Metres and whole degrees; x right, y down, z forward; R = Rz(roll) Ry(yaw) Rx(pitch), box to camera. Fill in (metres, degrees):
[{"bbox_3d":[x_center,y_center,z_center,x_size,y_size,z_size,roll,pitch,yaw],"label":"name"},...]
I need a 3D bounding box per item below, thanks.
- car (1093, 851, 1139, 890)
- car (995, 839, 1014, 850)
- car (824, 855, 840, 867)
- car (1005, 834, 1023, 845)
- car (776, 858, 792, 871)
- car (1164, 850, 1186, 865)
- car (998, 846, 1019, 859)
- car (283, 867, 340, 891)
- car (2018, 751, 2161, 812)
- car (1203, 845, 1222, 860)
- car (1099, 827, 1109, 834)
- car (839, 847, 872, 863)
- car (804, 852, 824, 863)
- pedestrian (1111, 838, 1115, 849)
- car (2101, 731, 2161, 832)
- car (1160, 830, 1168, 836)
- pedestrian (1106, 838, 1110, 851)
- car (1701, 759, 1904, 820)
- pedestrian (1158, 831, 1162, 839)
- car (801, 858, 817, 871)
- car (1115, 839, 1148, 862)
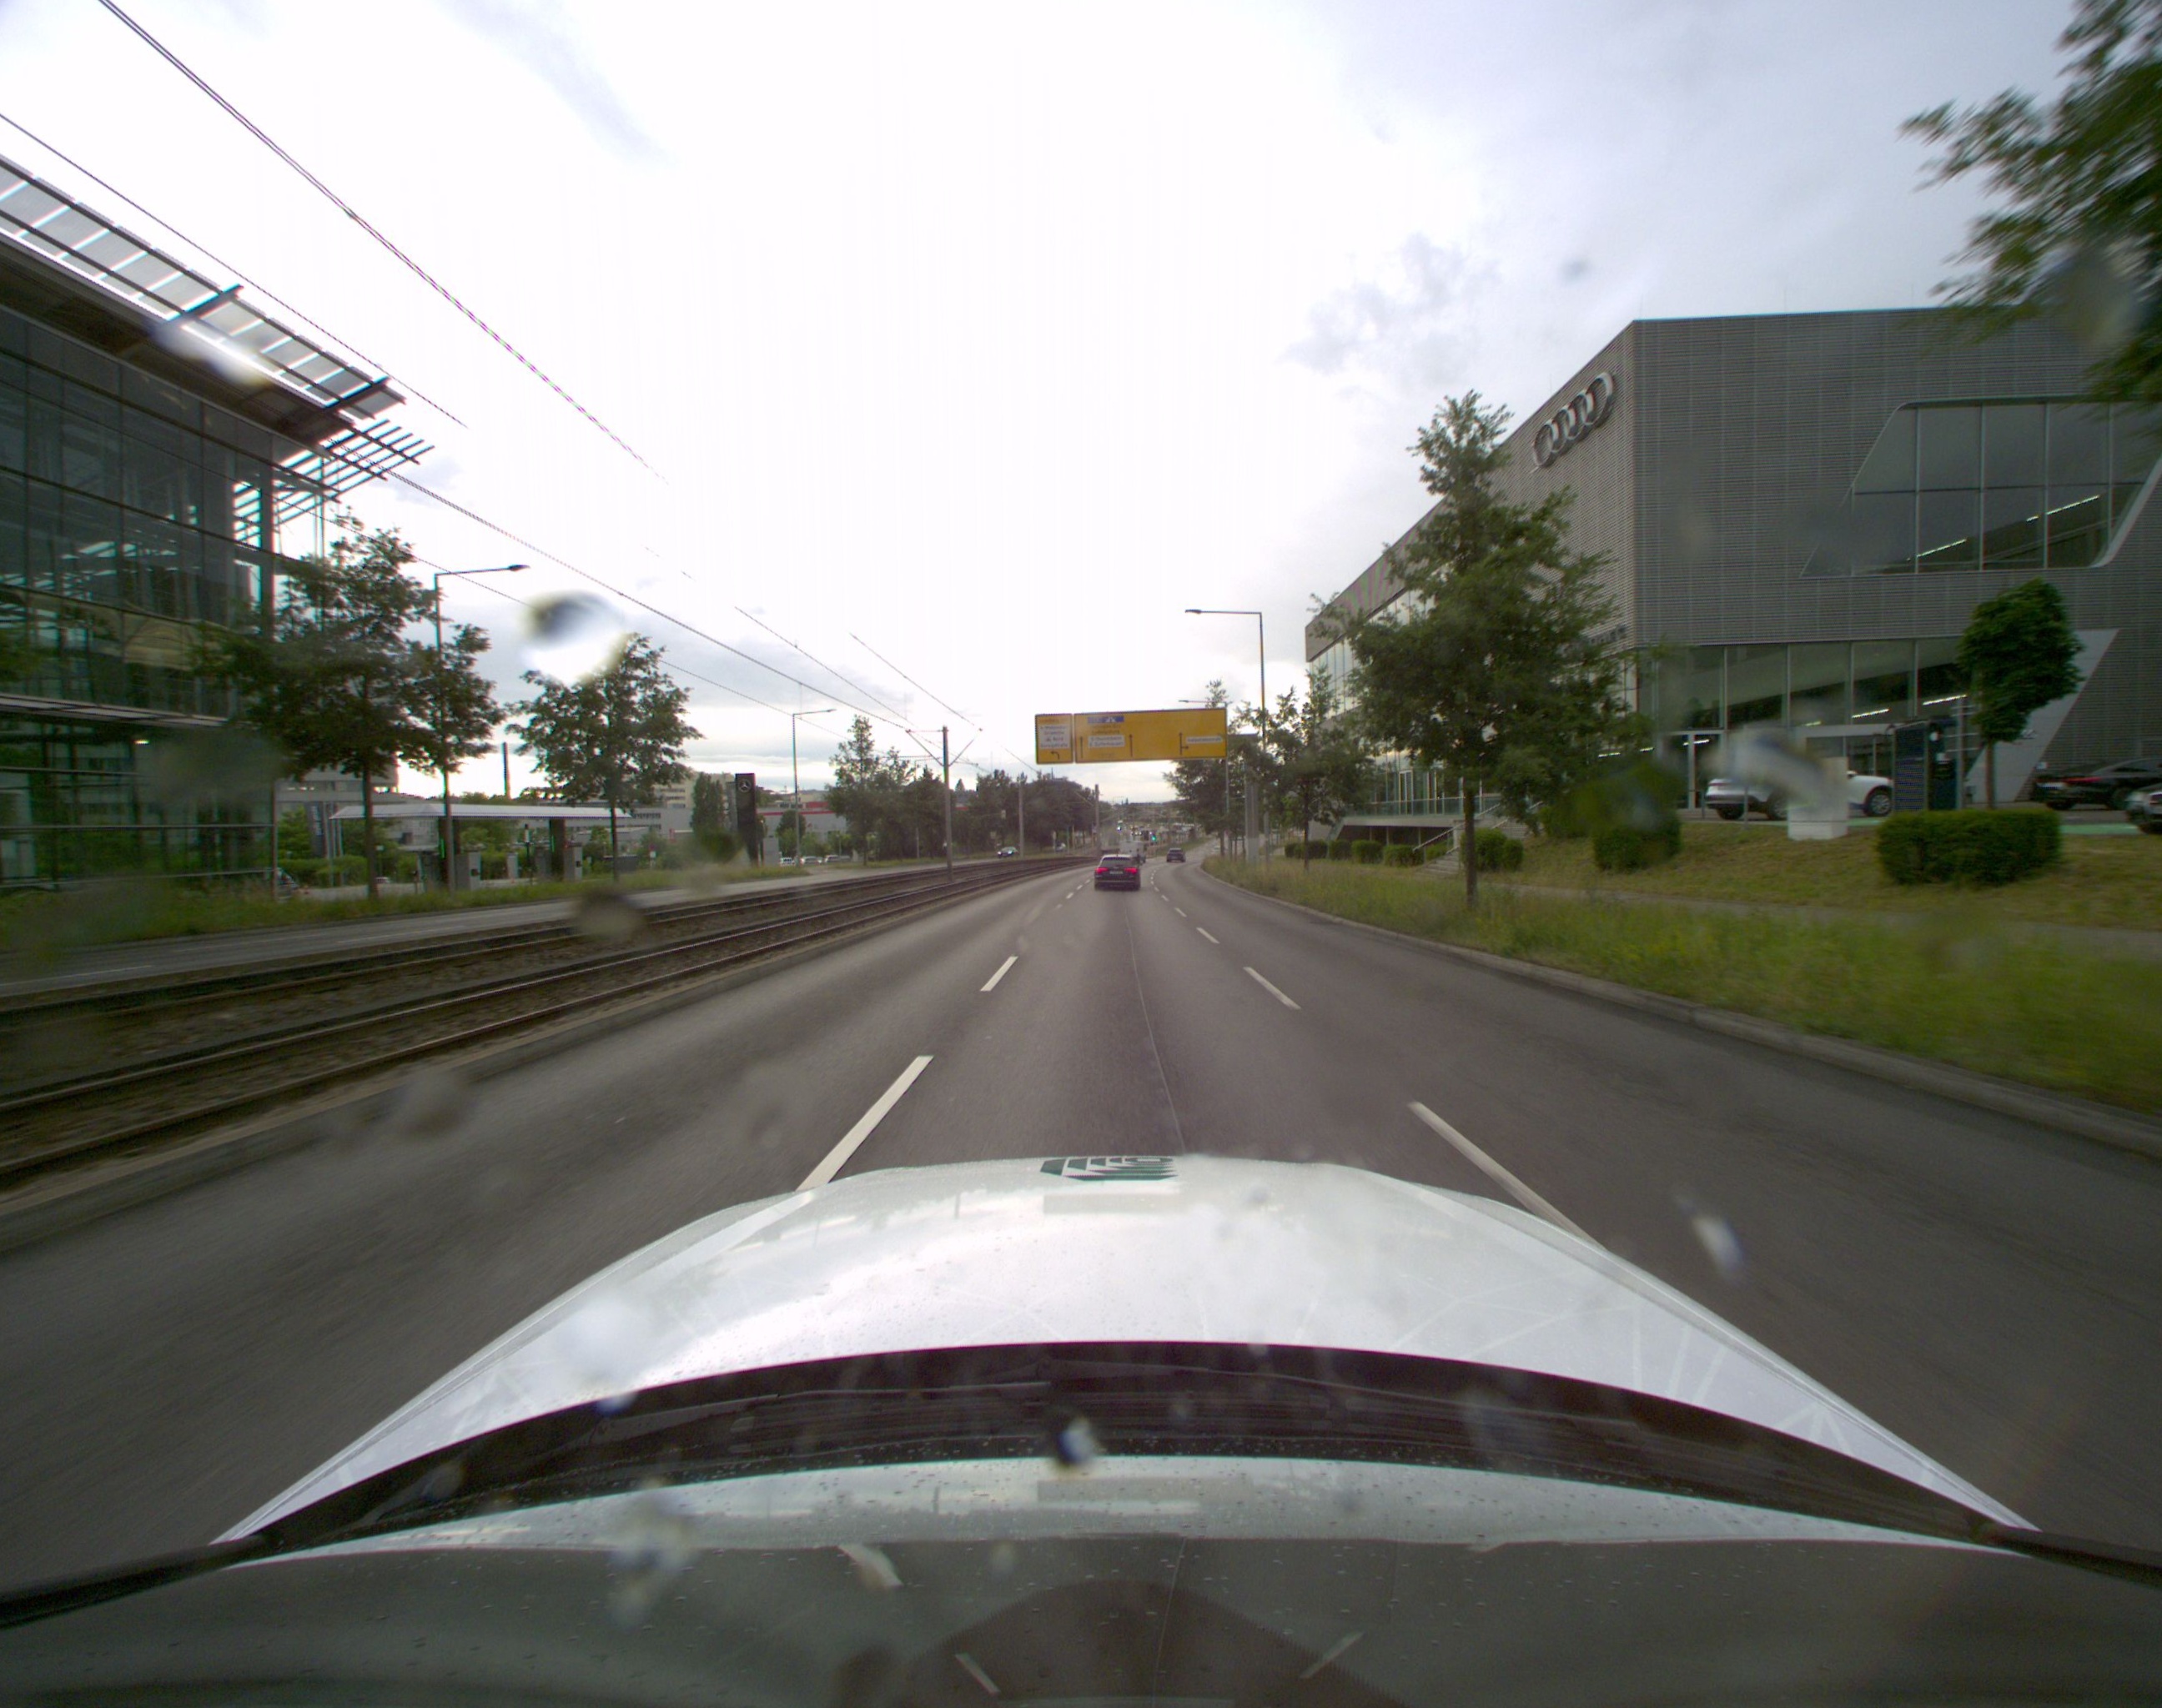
[{"bbox_3d":[1.450,0.629,33.776,1.757,1.463,4.630,0,0,3],"label":"car"},{"bbox_3d":[-13.892,-1.770,148.438,1.978,2.014,4.017,0,0,16],"label":"car"},{"bbox_3d":[-31.051,0.841,101.630,1.757,1.494,3.973,1,-1,-19],"label":"car"},{"bbox_3d":[-12.635,-2.649,153.647,1.978,2.014,4.017,0,0,16],"label":"car"},{"bbox_3d":[-36.464,1.265,100.048,1.757,1.494,3.973,1,-1,-19],"label":"car"},{"bbox_3d":[10.013,0.395,86.608,2.008,1.623,4.012,0,-1,11],"label":"car"},{"bbox_3d":[-9.069,-0.200,101.905,1.874,1.520,4.408,-4,0,4],"label":"car"},{"bbox_3d":[-58.584,1.872,62.077,2.004,1.728,3.966,1,-1,-26],"label":"car"},{"bbox_3d":[29.622,-2.046,23.135,4.092,1.574,1.692,0,0,0],"label":"car"},{"bbox_3d":[16.708,-0.186,103.233,2.007,1.769,4.016,0,3,14],"label":"car"},{"bbox_3d":[7.138,-7.185,254.310,1.998,2.014,3.976,1,-1,-17],"label":"car"},{"bbox_3d":[-24.296,0.126,87.961,1.983,1.651,4.007,0,-1,7],"label":"car"},{"bbox_3d":[-36.664,0.528,111.873,2.004,1.510,3.965,1,-1,-27],"label":"car"},{"bbox_3d":[5.481,-1.734,139.123,0.632,1.854,0.753,0,-1,13],"label":"pedestrian"},{"bbox_3d":[19.228,-1.165,12.760,4.406,1.574,1.692,0,0,0],"label":"car"},{"bbox_3d":[26.589,-6.725,259.965,1.980,1.794,4.014,0,-1,13],"label":"car"},{"bbox_3d":[4.066,-1.382,124.097,0.545,1.953,0.666,0,-1,10],"label":"pedestrian"},{"bbox_3d":[20.275,-1.787,22.998,4.245,1.574,1.692,0,0,0],"label":"car"},{"bbox_3d":[18.569,-4.545,192.179,0.747,1.751,0.767,0,-1,14],"label":"pedestrian"},{"bbox_3d":[-33.731,1.305,101.019,1.757,1.494,3.973,1,-1,-19],"label":"car"},{"bbox_3d":[5.161,-0.330,81.973,2.494,2.177,5.166,0,-1,12],"label":"car"}]
